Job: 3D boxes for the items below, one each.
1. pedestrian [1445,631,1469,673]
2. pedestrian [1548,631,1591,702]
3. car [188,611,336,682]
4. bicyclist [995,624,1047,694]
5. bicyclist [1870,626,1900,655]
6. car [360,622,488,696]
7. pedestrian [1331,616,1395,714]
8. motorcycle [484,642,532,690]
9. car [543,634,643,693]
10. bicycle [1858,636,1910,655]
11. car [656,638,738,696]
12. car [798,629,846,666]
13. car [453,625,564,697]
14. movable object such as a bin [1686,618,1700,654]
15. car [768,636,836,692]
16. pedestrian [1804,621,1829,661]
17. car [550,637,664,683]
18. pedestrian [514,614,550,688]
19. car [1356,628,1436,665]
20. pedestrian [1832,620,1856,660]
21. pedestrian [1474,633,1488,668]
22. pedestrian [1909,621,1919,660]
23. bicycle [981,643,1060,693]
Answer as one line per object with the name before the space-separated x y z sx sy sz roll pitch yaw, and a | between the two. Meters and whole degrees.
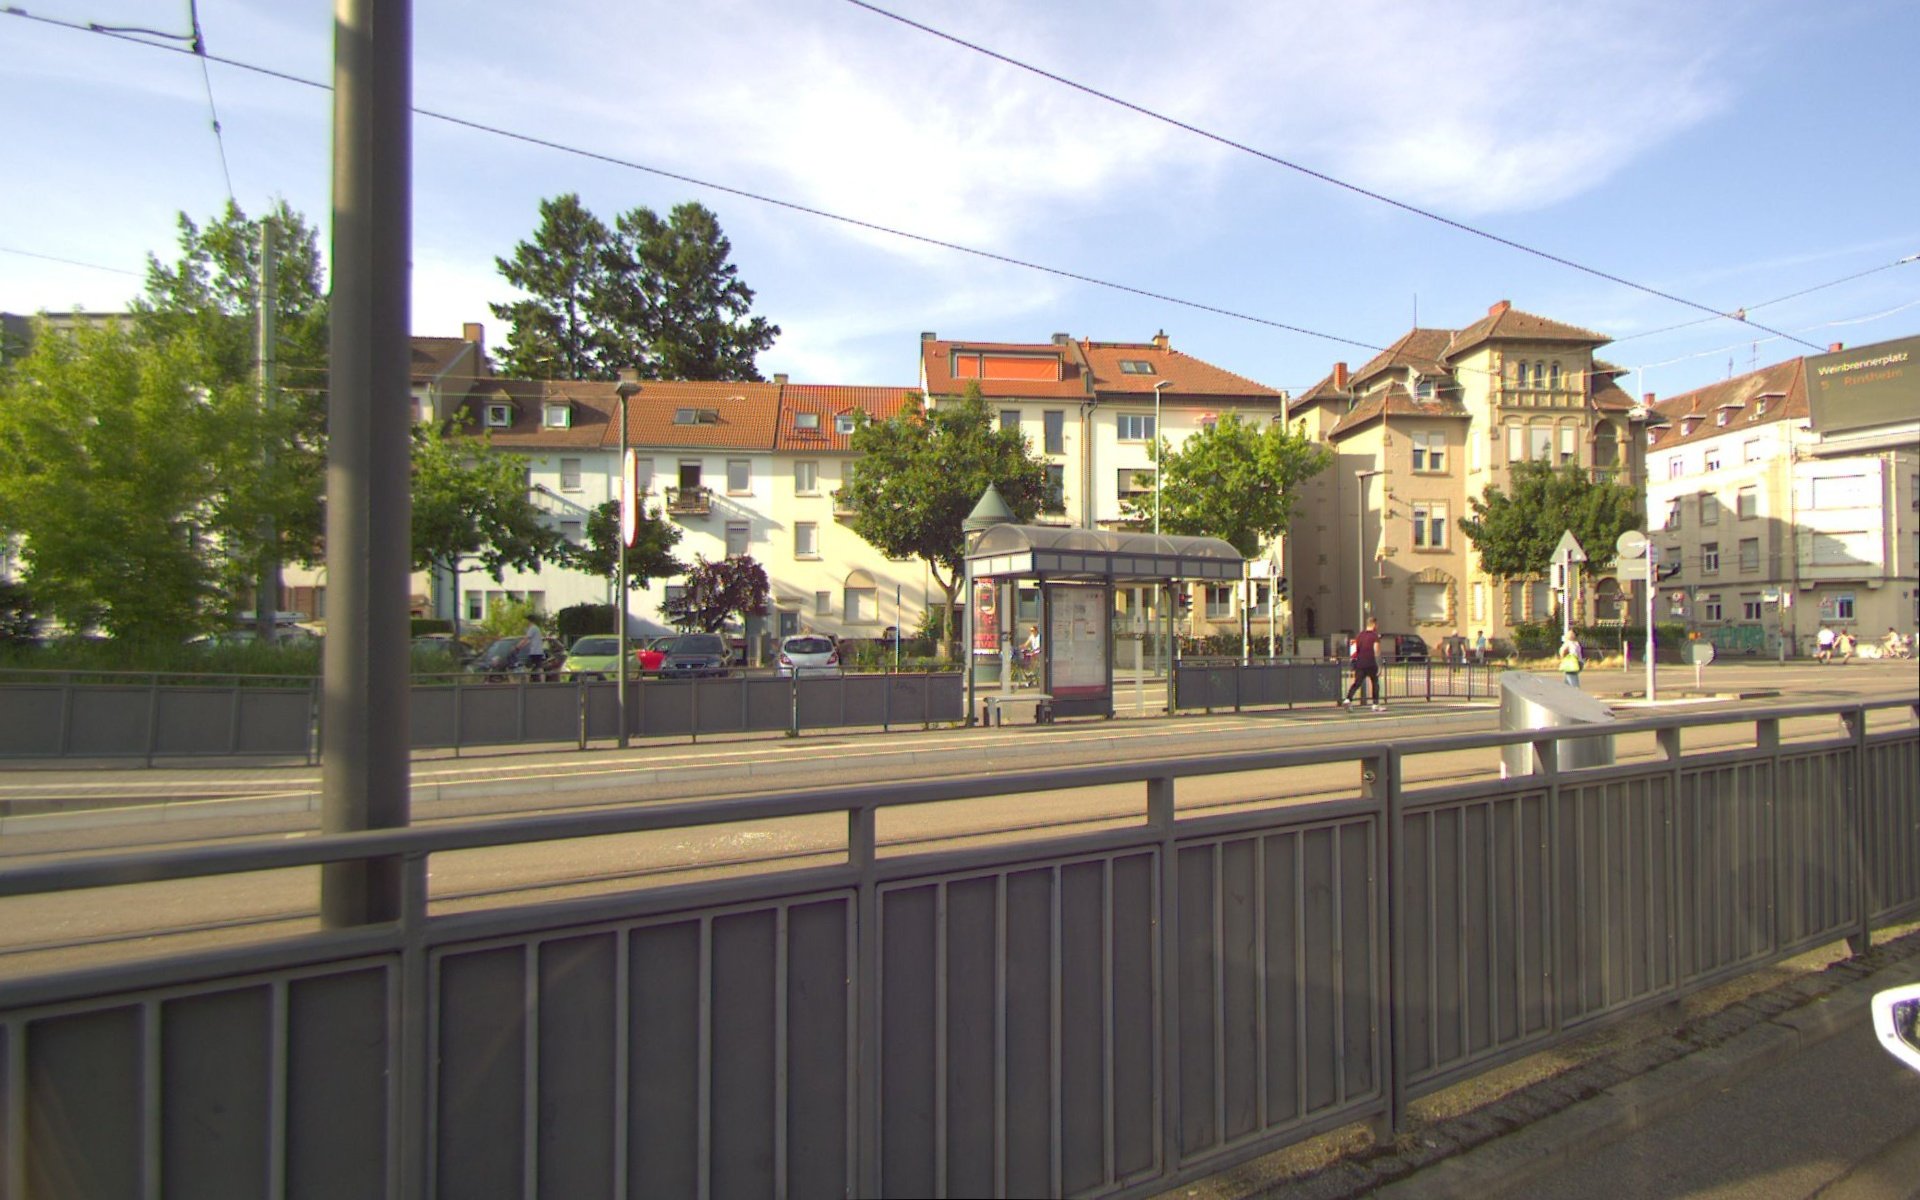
pedestrian | 19.891 2.072 40.239 0.592 1.673 0.681 0 -1 -3
pedestrian | 13.997 1.516 23.071 0.708 1.610 0.586 1 -2 -34
car | -18.966 1.248 27.524 1.822 1.777 3.993 0 -2 -11
bicyclist | 1.487 1.426 24.637 1.059 1.646 0.701 0 1 -30
bicyclist | 50.692 2.202 55.050 0.655 1.590 1.033 1 -2 -34
car | -13.889 1.497 26.286 1.822 1.777 3.993 0 -2 -11
pedestrian | 7.150 1.137 17.843 0.874 1.692 0.666 1 -2 -33
motorcycle | -10.286 1.490 22.864 0.911 1.065 0.496 1 -2 -34
car | -9.733 1.639 26.932 1.740 1.447 3.995 0 -2 -9
bicycle | 50.661 2.511 55.107 0.735 1.019 1.977 1 -2 -36
car | -7.071 1.757 27.339 1.740 1.447 3.995 0 -2 -9
car | -6.057 2.072 44.405 1.821 1.578 3.998 0 -2 -4
car | -11.976 1.579 26.904 1.822 1.777 3.993 0 -2 -11
movable object such as a bin | 36.813 1.803 50.450 0.259 1.732 2.379 -1 -2 29
car | -4.375 1.723 27.968 1.740 1.447 3.995 0 -2 -9
pedestrian | 41.983 2.001 49.244 0.616 1.905 0.659 0 -2 -15
car | -12.186 2.059 34.859 3.444 1.544 1.567 0 -2 -7
pedestrian | -9.868 1.178 23.160 0.665 1.677 0.367 1 -2 -38
car | 20.351 2.141 47.065 1.742 1.653 3.998 0 -2 -5
pedestrian | 42.502 1.926 48.288 0.642 1.872 0.670 1 -2 -32
pedestrian | 23.060 2.228 44.440 0.382 1.535 0.405 0 -2 -3
pedestrian | 47.332 1.973 49.524 0.618 1.905 0.583 0 -2 -25
bicycle | 1.483 1.649 24.623 1.842 1.125 0.722 1 1 -30
